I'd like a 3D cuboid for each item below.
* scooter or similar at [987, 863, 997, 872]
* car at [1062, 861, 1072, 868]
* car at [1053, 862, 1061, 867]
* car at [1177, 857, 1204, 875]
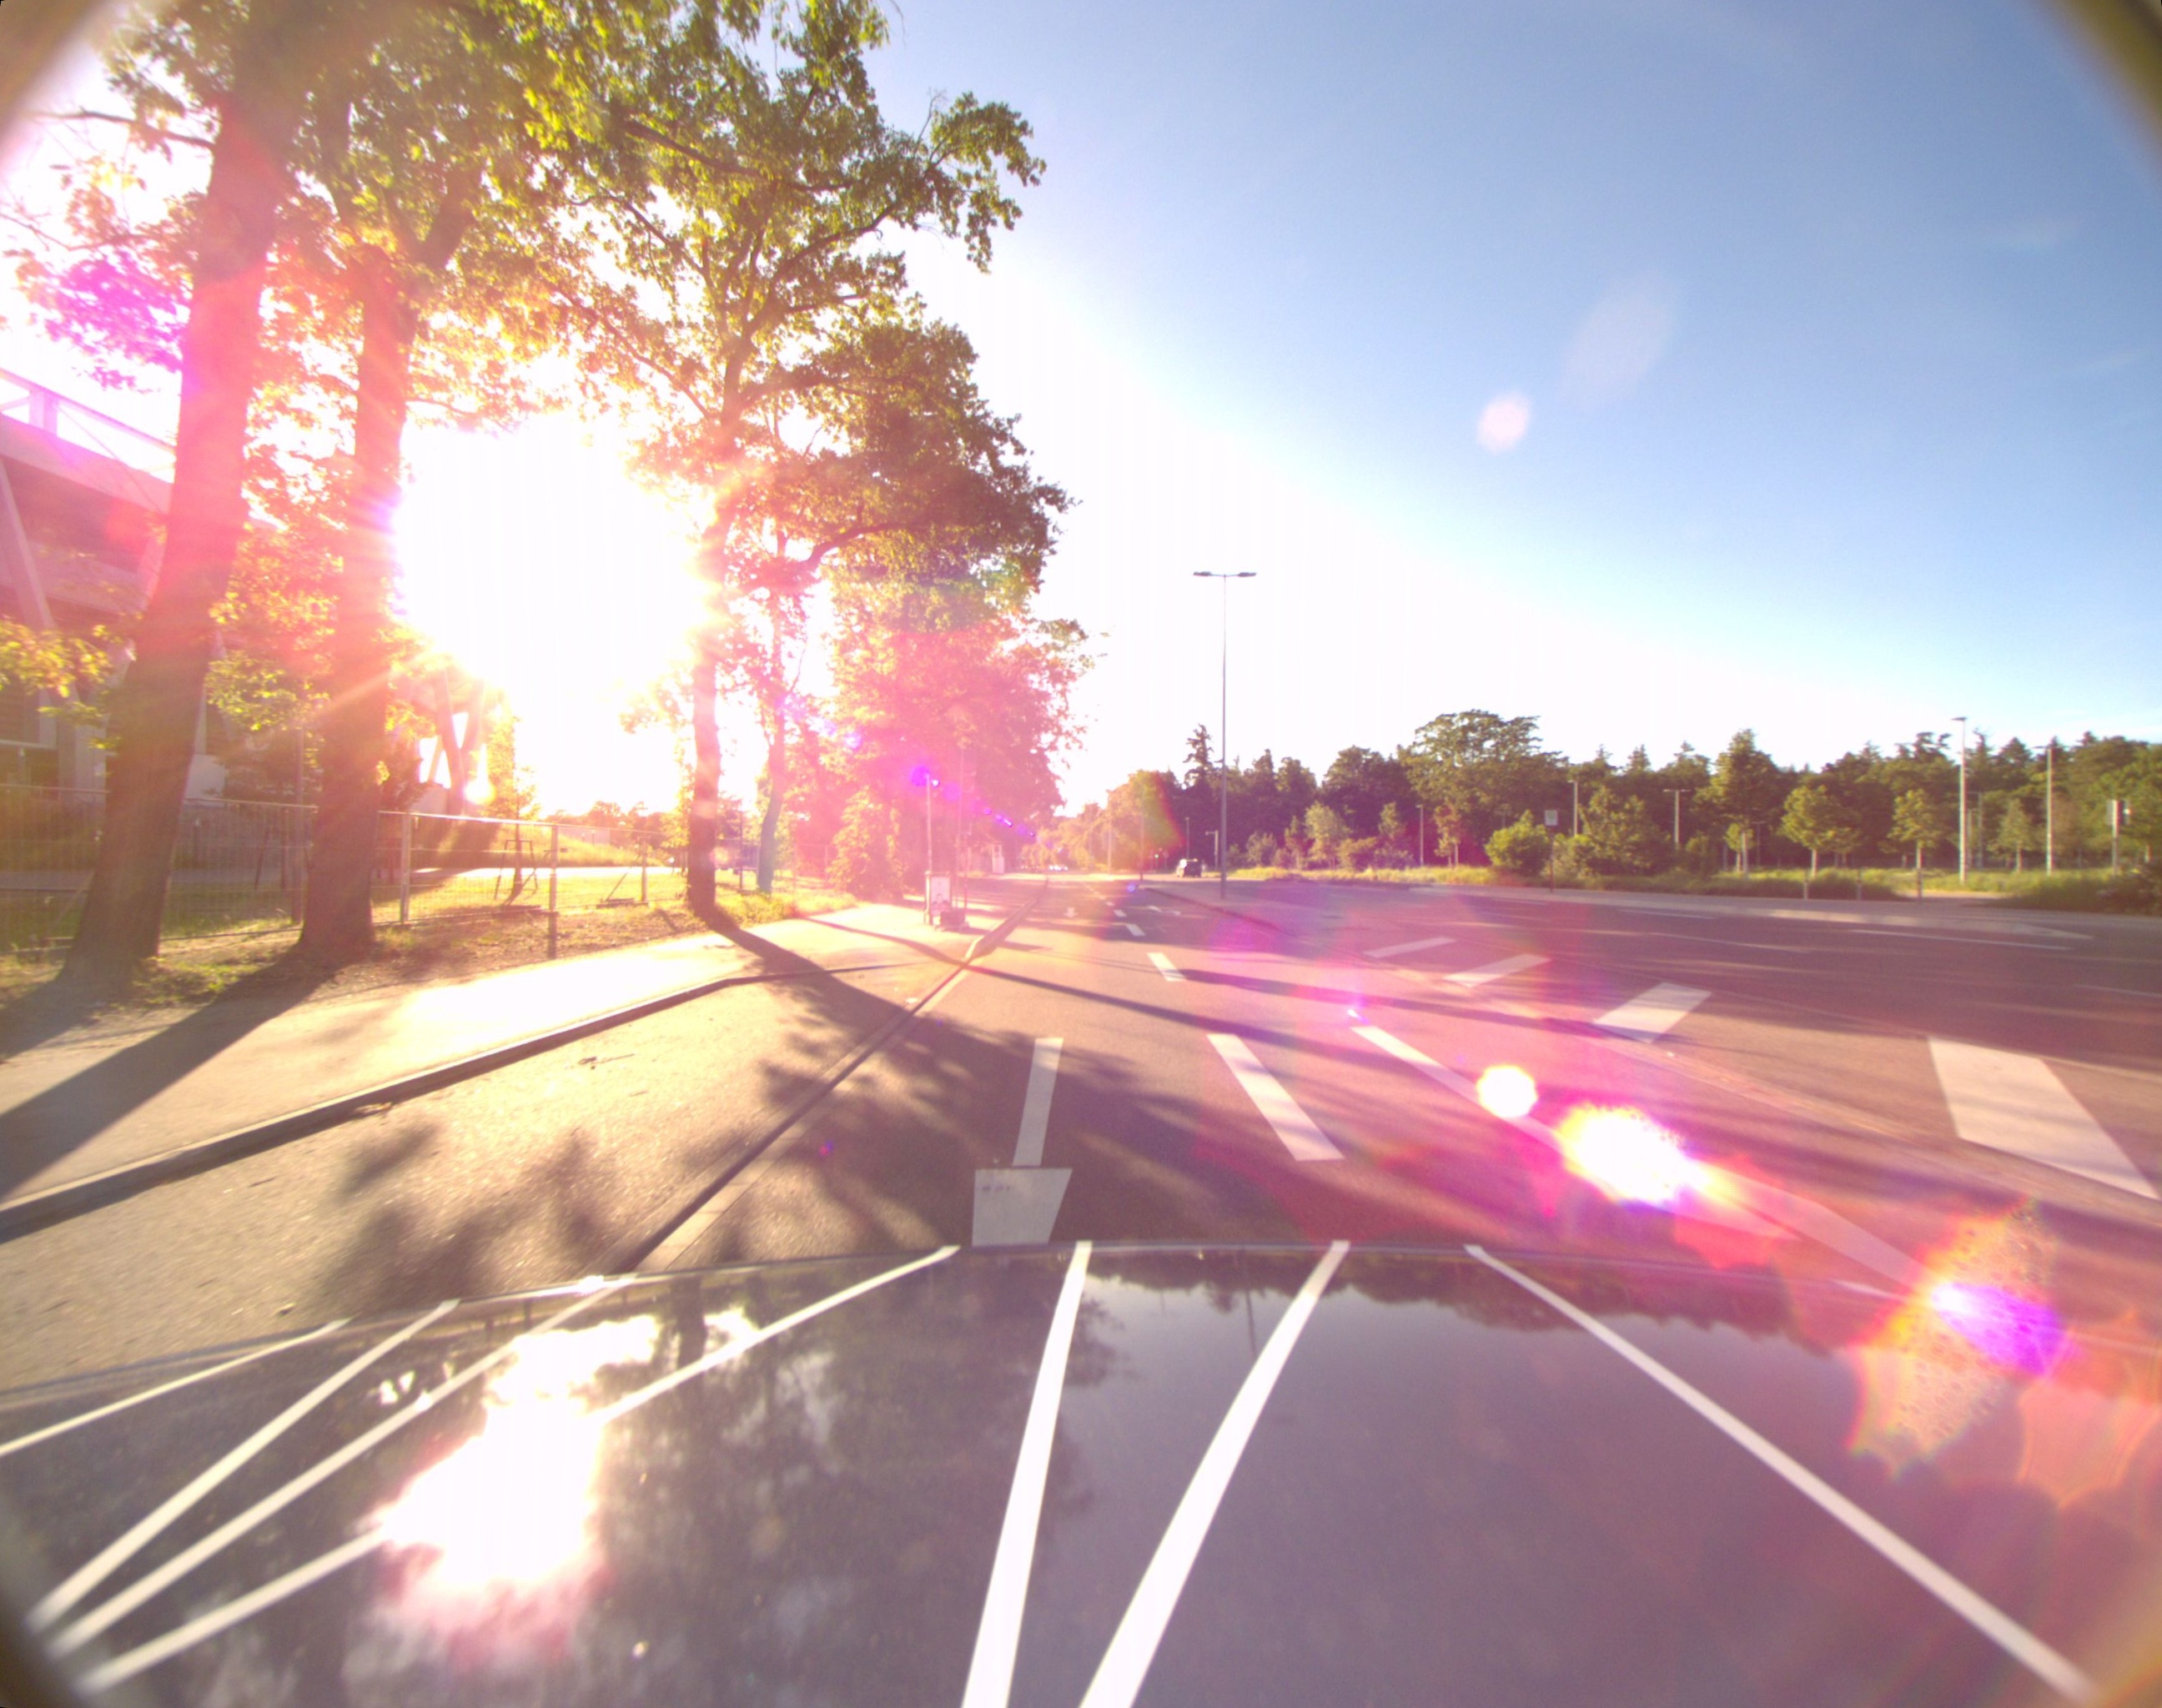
[{"bbox_3d":[-11.746,1.818,100.377,1.303,1.230,0.334,1,-1,-37],"label":"scooter or similar"},{"bbox_3d":[-3.064,2.361,166.911,1.841,1.394,3.999,-1,0,-4],"label":"car"},{"bbox_3d":[-6.209,2.755,196.730,1.842,1.394,4.990,-1,-1,-5],"label":"car"},{"bbox_3d":[10.601,1.172,74.051,1.788,1.682,4.702,-1,-1,-2],"label":"car"}]
